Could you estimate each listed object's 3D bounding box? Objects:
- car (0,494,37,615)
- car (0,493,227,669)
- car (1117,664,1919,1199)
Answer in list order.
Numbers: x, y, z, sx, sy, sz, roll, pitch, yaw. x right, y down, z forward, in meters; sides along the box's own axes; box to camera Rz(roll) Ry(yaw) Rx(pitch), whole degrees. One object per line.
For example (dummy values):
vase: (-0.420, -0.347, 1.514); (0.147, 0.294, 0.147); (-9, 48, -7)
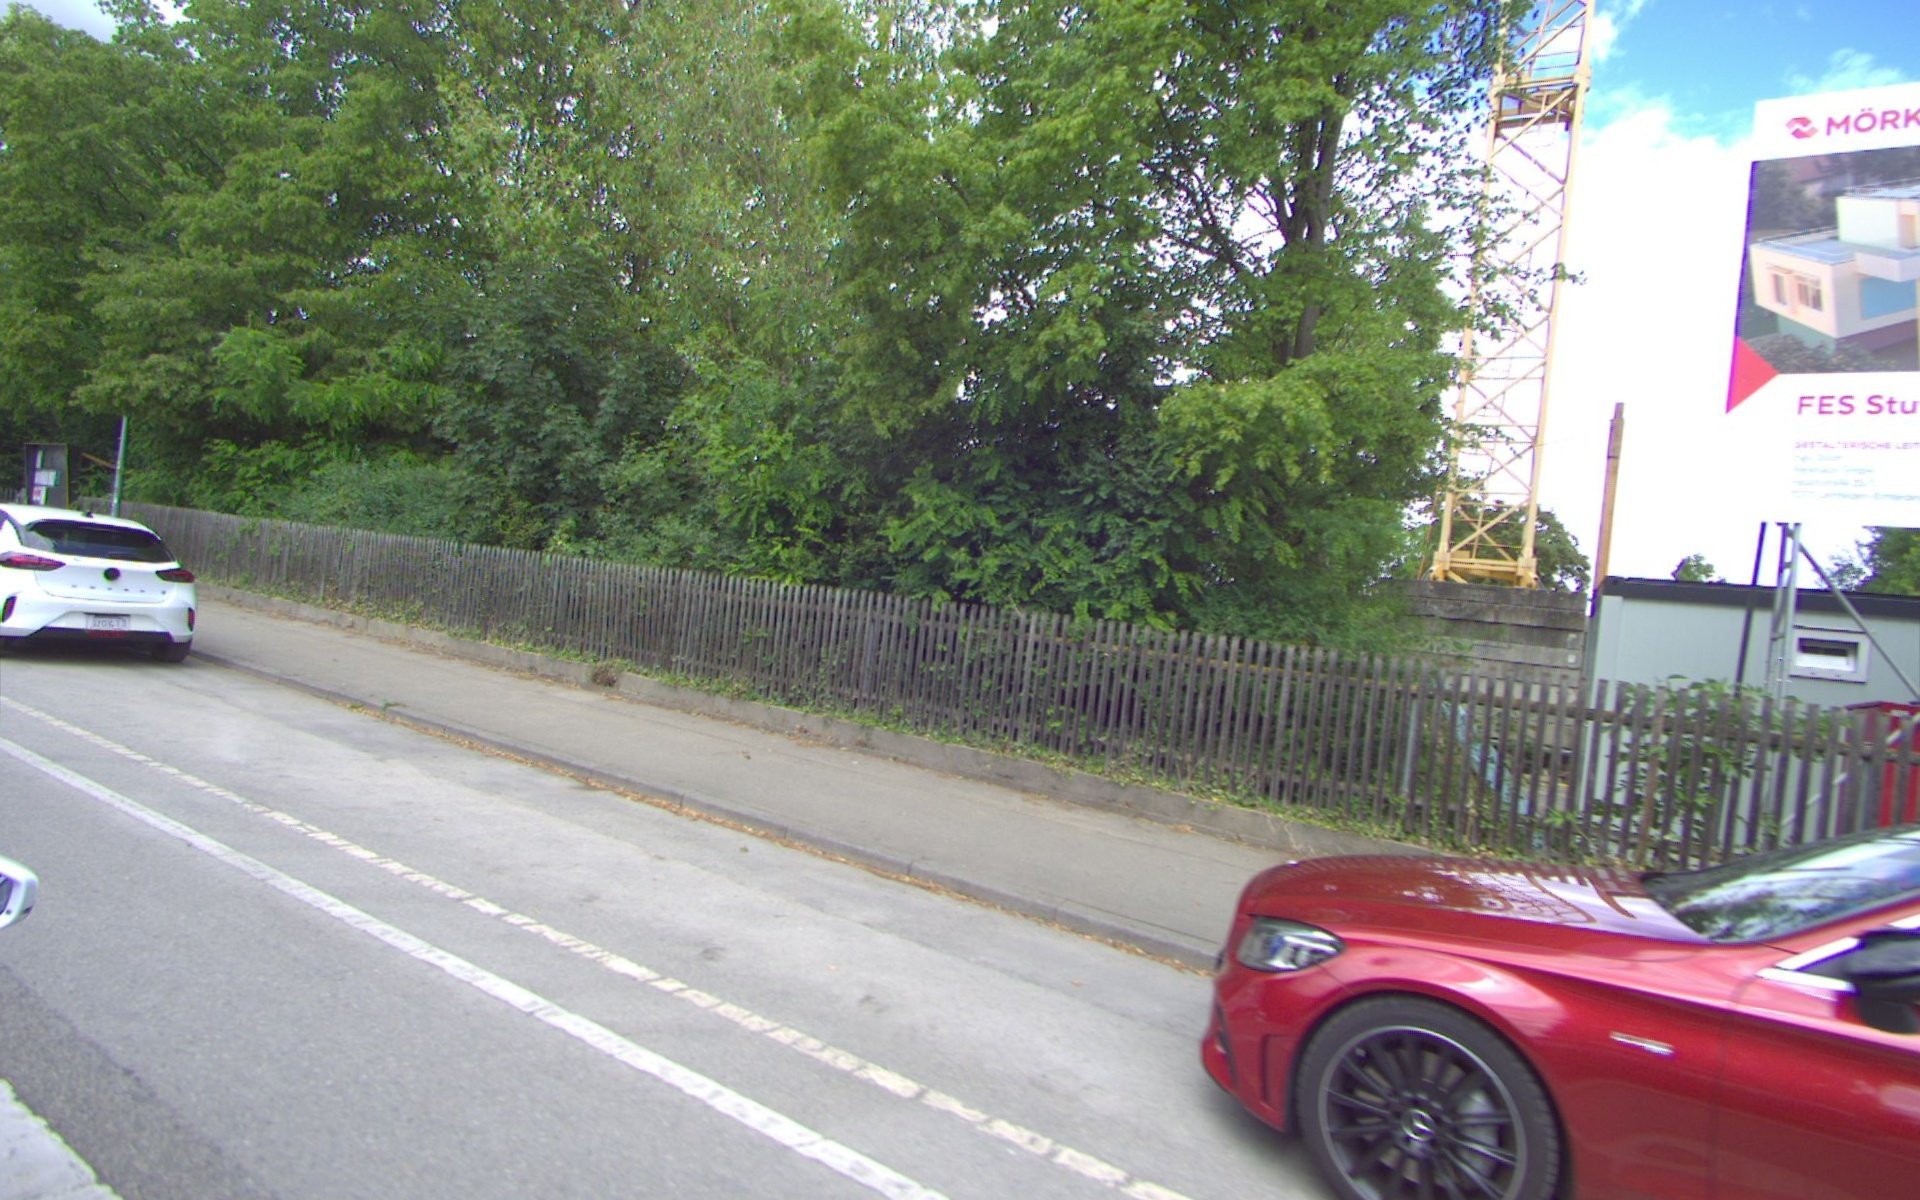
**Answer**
car: (-14.524, -0.884, 13.643); (4.462, 1.528, 1.705); (7, -1, 32)
car: (-9.826, -0.297, 10.760); (3.965, 1.528, 1.770); (6, -1, 32)
car: (2.915, 1.262, 2.867); (4.370, 1.429, 1.863); (7, -2, 32)
